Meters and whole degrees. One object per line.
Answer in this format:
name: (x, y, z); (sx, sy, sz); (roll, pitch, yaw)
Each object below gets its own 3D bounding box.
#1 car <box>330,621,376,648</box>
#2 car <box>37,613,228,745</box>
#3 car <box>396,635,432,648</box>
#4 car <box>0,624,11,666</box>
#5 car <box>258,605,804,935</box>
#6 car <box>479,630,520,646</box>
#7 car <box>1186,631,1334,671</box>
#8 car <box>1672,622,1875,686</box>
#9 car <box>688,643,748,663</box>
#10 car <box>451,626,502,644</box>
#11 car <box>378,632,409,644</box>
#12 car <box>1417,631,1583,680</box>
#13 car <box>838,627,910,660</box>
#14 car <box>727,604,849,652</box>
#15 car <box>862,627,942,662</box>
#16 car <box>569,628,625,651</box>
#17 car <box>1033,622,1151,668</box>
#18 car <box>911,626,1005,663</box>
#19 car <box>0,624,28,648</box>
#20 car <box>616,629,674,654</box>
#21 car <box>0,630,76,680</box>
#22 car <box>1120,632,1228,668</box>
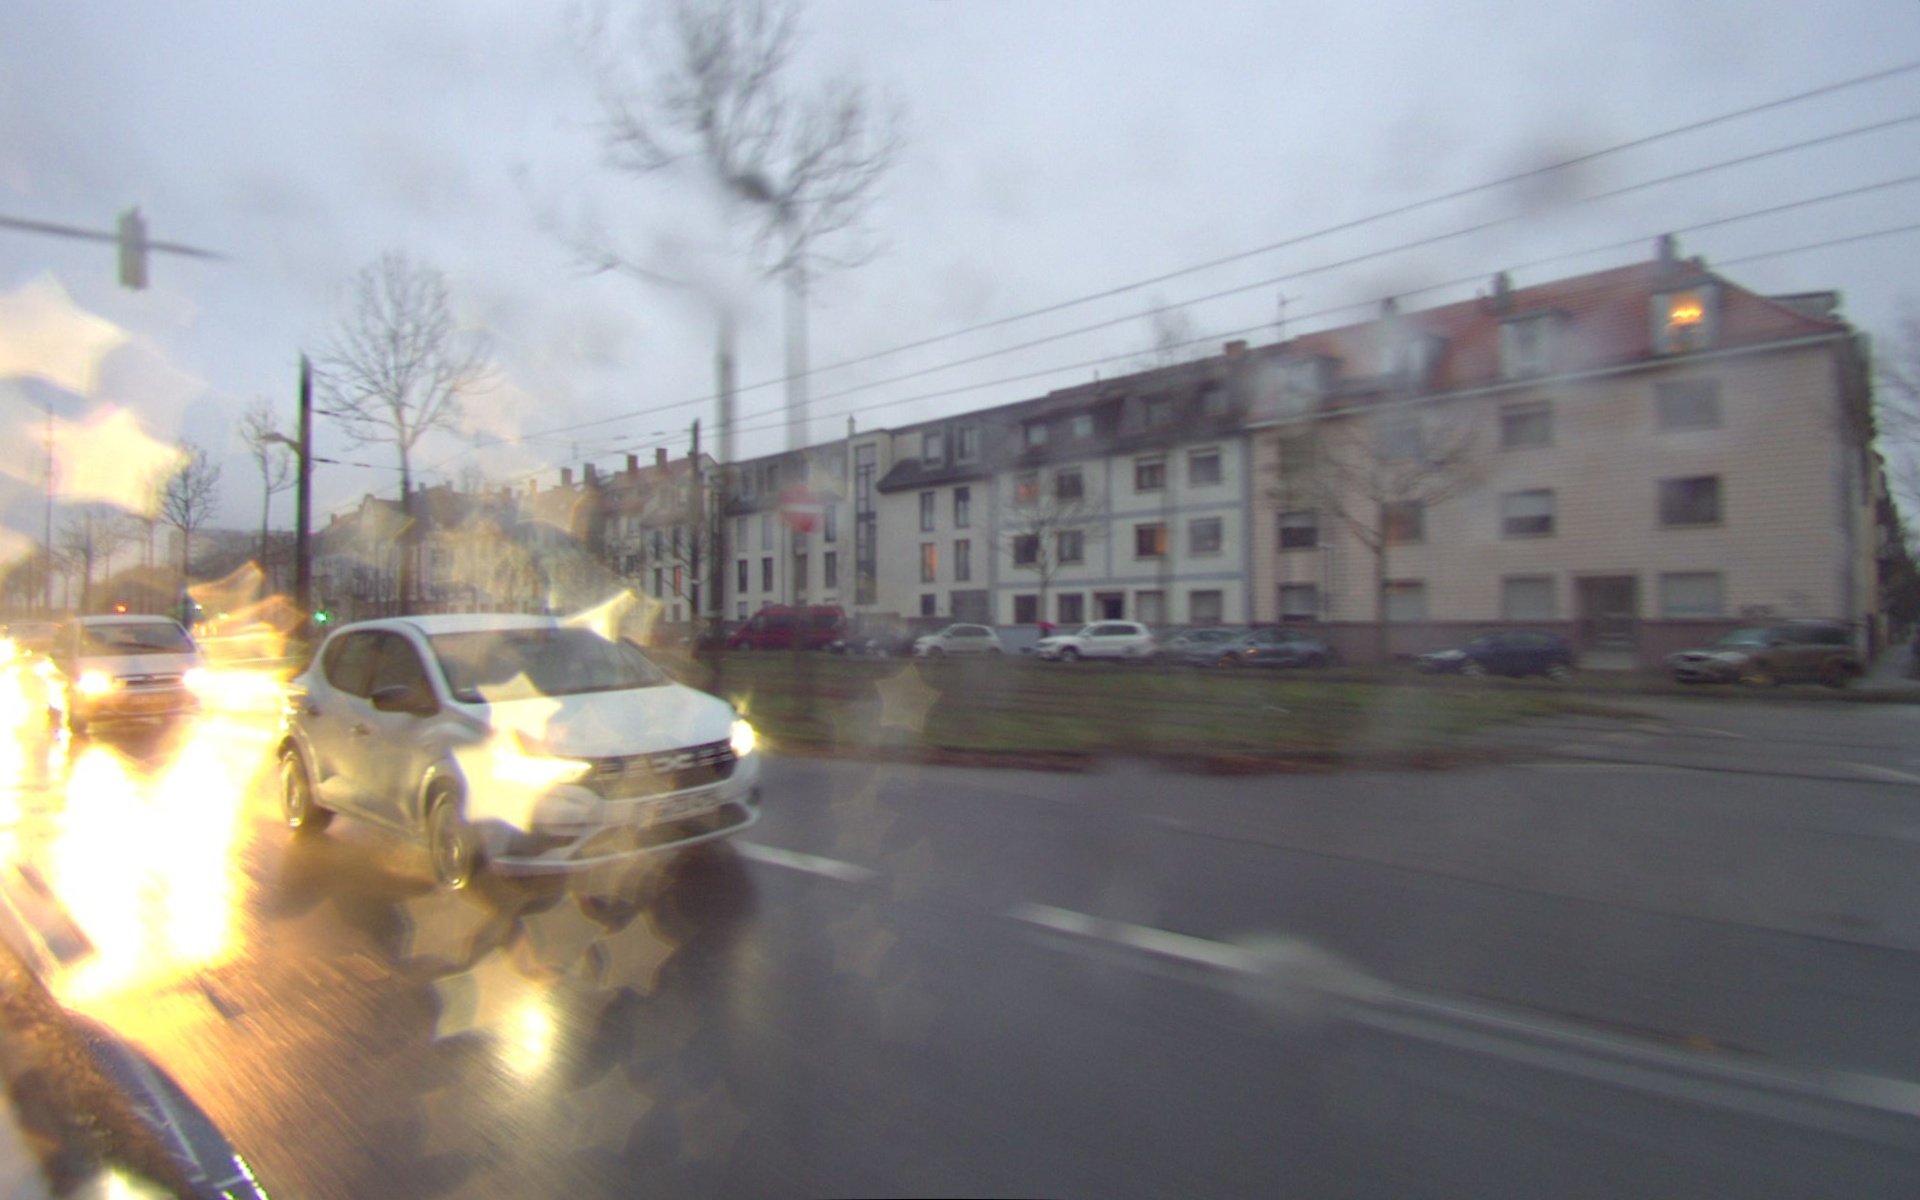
car: (-47.989, 2.719, 79.971); (3.998, 2.029, 1.973); (-1, 0, 41)
car: (-12.652, 1.057, 15.386); (1.992, 1.690, 4.004); (-1, 0, -43)
car: (-46.400, 3.511, 86.023); (2.528, 0.994, 1.259); (-1, 0, -17)
car: (-42.806, 1.965, 44.270); (4.056, 1.753, 1.706); (-1, 0, 44)
car: (-2.962, 0.792, 6.555); (3.998, 1.477, 1.690); (-1, 0, 41)
car: (-35.418, 2.894, 77.786); (2.590, 1.114, 1.256); (-1, 0, -44)
car: (9.336, 1.568, 31.540); (4.332, 1.140, 1.251); (0, 0, -13)
car: (18.414, 1.186, 22.932); (3.933, 1.265, 1.448); (-1, 0, -13)
car: (-12.957, 2.829, 54.270); (3.057, 1.014, 1.189); (-1, -2, -12)
car: (-31.749, 2.291, 66.481); (2.772, 1.073, 1.315); (-1, 0, -44)
car: (-50.814, 3.389, 90.814); (2.257, 0.994, 1.126); (-1, 0, -43)
car: (14.496, 1.469, 27.220); (3.934, 1.140, 1.365); (-1, 0, -11)
car: (-3.859, 1.954, 45.347); (3.057, 1.395, 1.316); (-1, -2, -13)
car: (-8.546, 1.363, 50.180); (5.811, 2.271, 1.826); (-1, 0, -13)
car: (-2.466, 1.868, 42.947); (3.153, 1.395, 1.317); (-1, -2, -15)
car: (-22.708, 2.465, 63.414); (3.152, 1.326, 1.555); (-1, 0, -15)
car: (4.706, 1.575, 36.122); (3.947, 1.516, 1.316); (-1, 0, -11)
car: (-0.089, 1.774, 40.667); (3.548, 1.395, 1.317); (-1, -2, -15)
car: (-71.011, 2.662, 75.605); (3.644, 1.668, 1.706); (-1, 0, 43)
car: (-18.404, 2.410, 59.206); (3.151, 1.326, 1.556); (-1, 0, -16)
car: (-31.131, 1.798, 33.813); (4.091, 1.513, 1.949); (-2, -1, 43)
car: (7.128, 1.658, 33.786); (3.260, 1.140, 1.316); (0, -2, -13)
